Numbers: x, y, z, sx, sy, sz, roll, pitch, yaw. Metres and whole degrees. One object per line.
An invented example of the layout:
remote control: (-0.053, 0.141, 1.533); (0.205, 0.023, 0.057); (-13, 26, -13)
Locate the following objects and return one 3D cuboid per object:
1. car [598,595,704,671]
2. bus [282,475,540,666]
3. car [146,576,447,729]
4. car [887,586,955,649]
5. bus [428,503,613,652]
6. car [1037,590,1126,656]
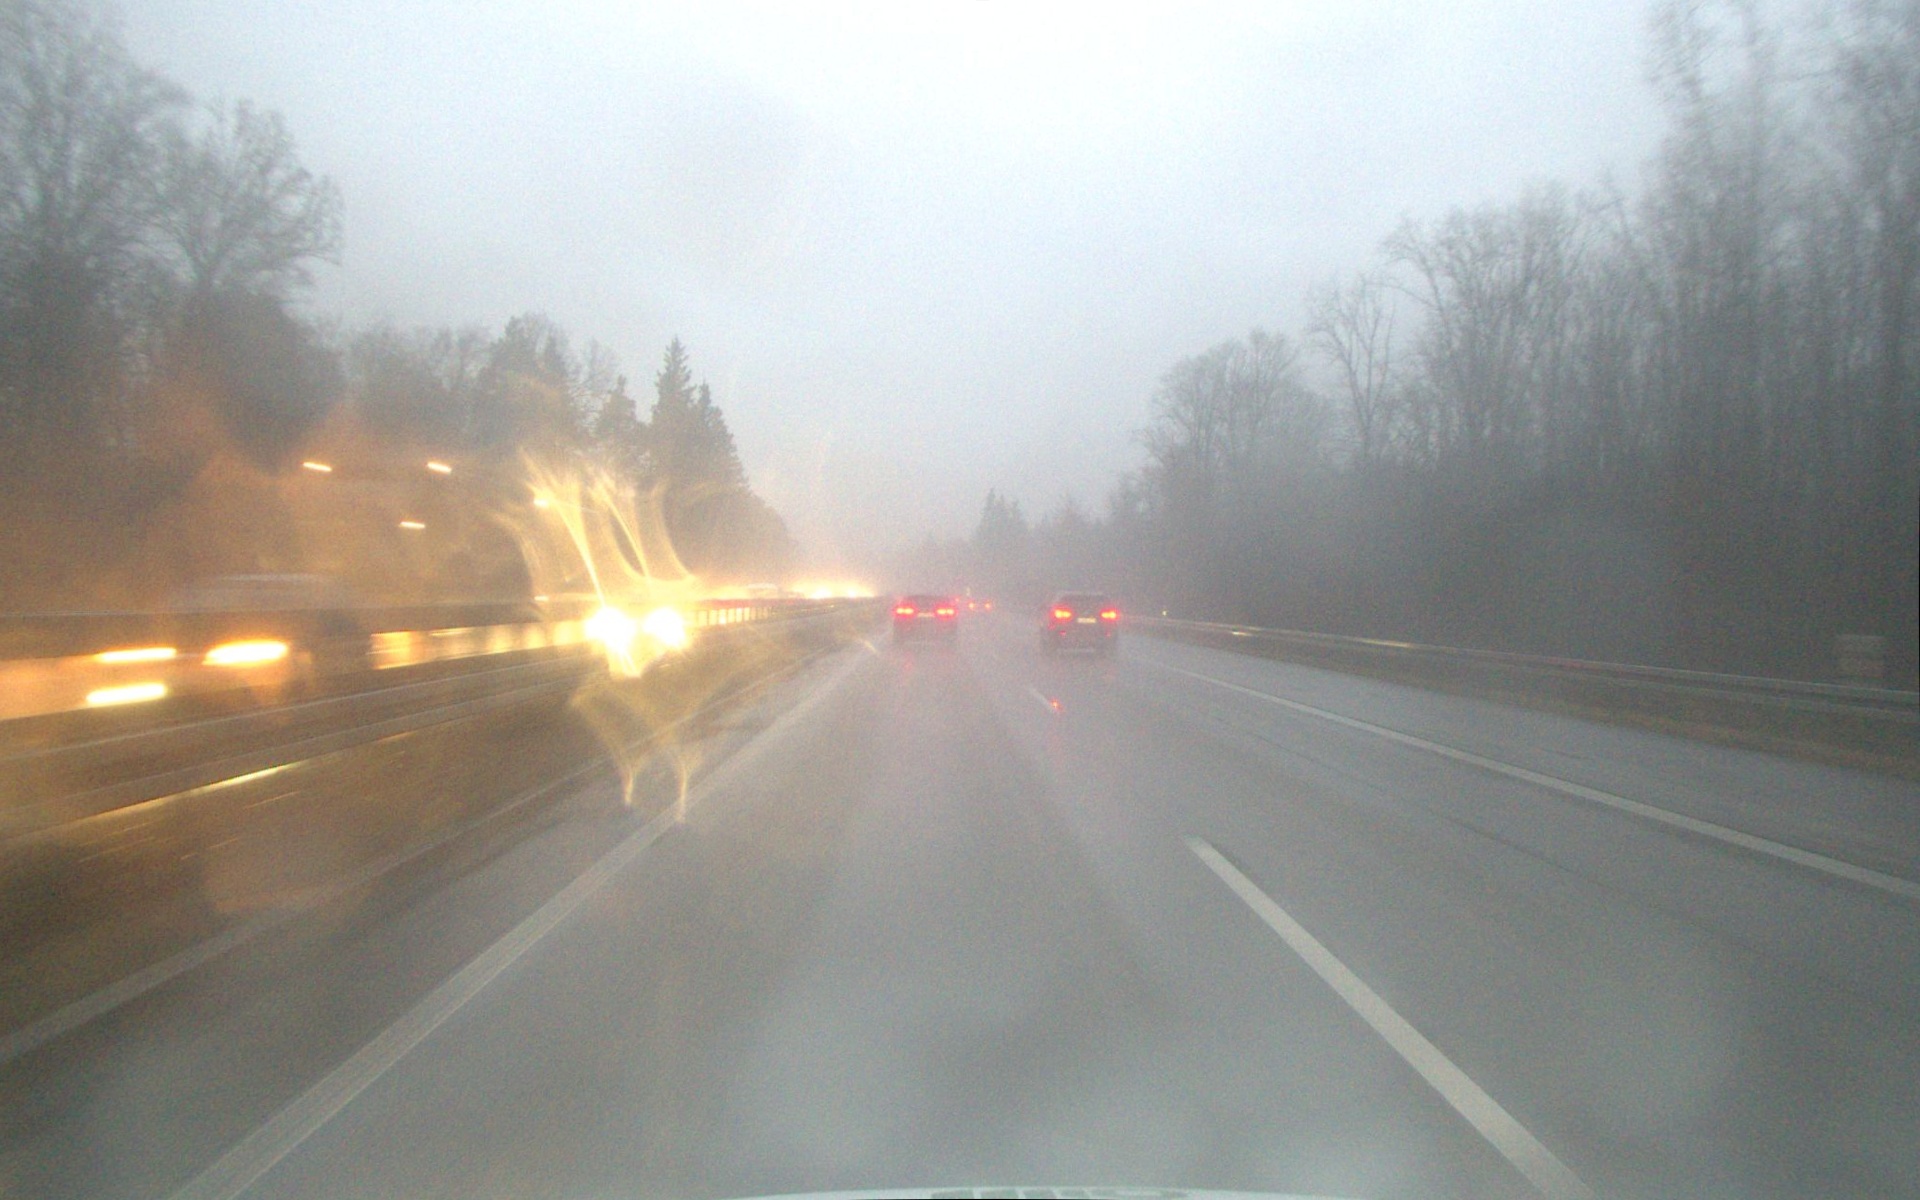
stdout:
car: (-7.996, 0.824, 43.108); (1.953, 1.780, 3.999); (3, 0, -1)
bus: (-11.626, -0.558, 36.108); (2.671, 3.617, 9.086); (1, 0, -1)
car: (-7.587, 0.551, 19.397); (1.761, 1.561, 4.270); (1, 0, 0)
car: (-1.181, 0.496, 49.377); (1.946, 1.798, 4.171); (0, 0, -2)
bus: (-11.777, -0.551, 45.301); (2.683, 3.617, 9.153); (1, 0, -1)
car: (3.325, 0.617, 46.035); (2.028, 1.727, 4.459); (1, 0, -2)
